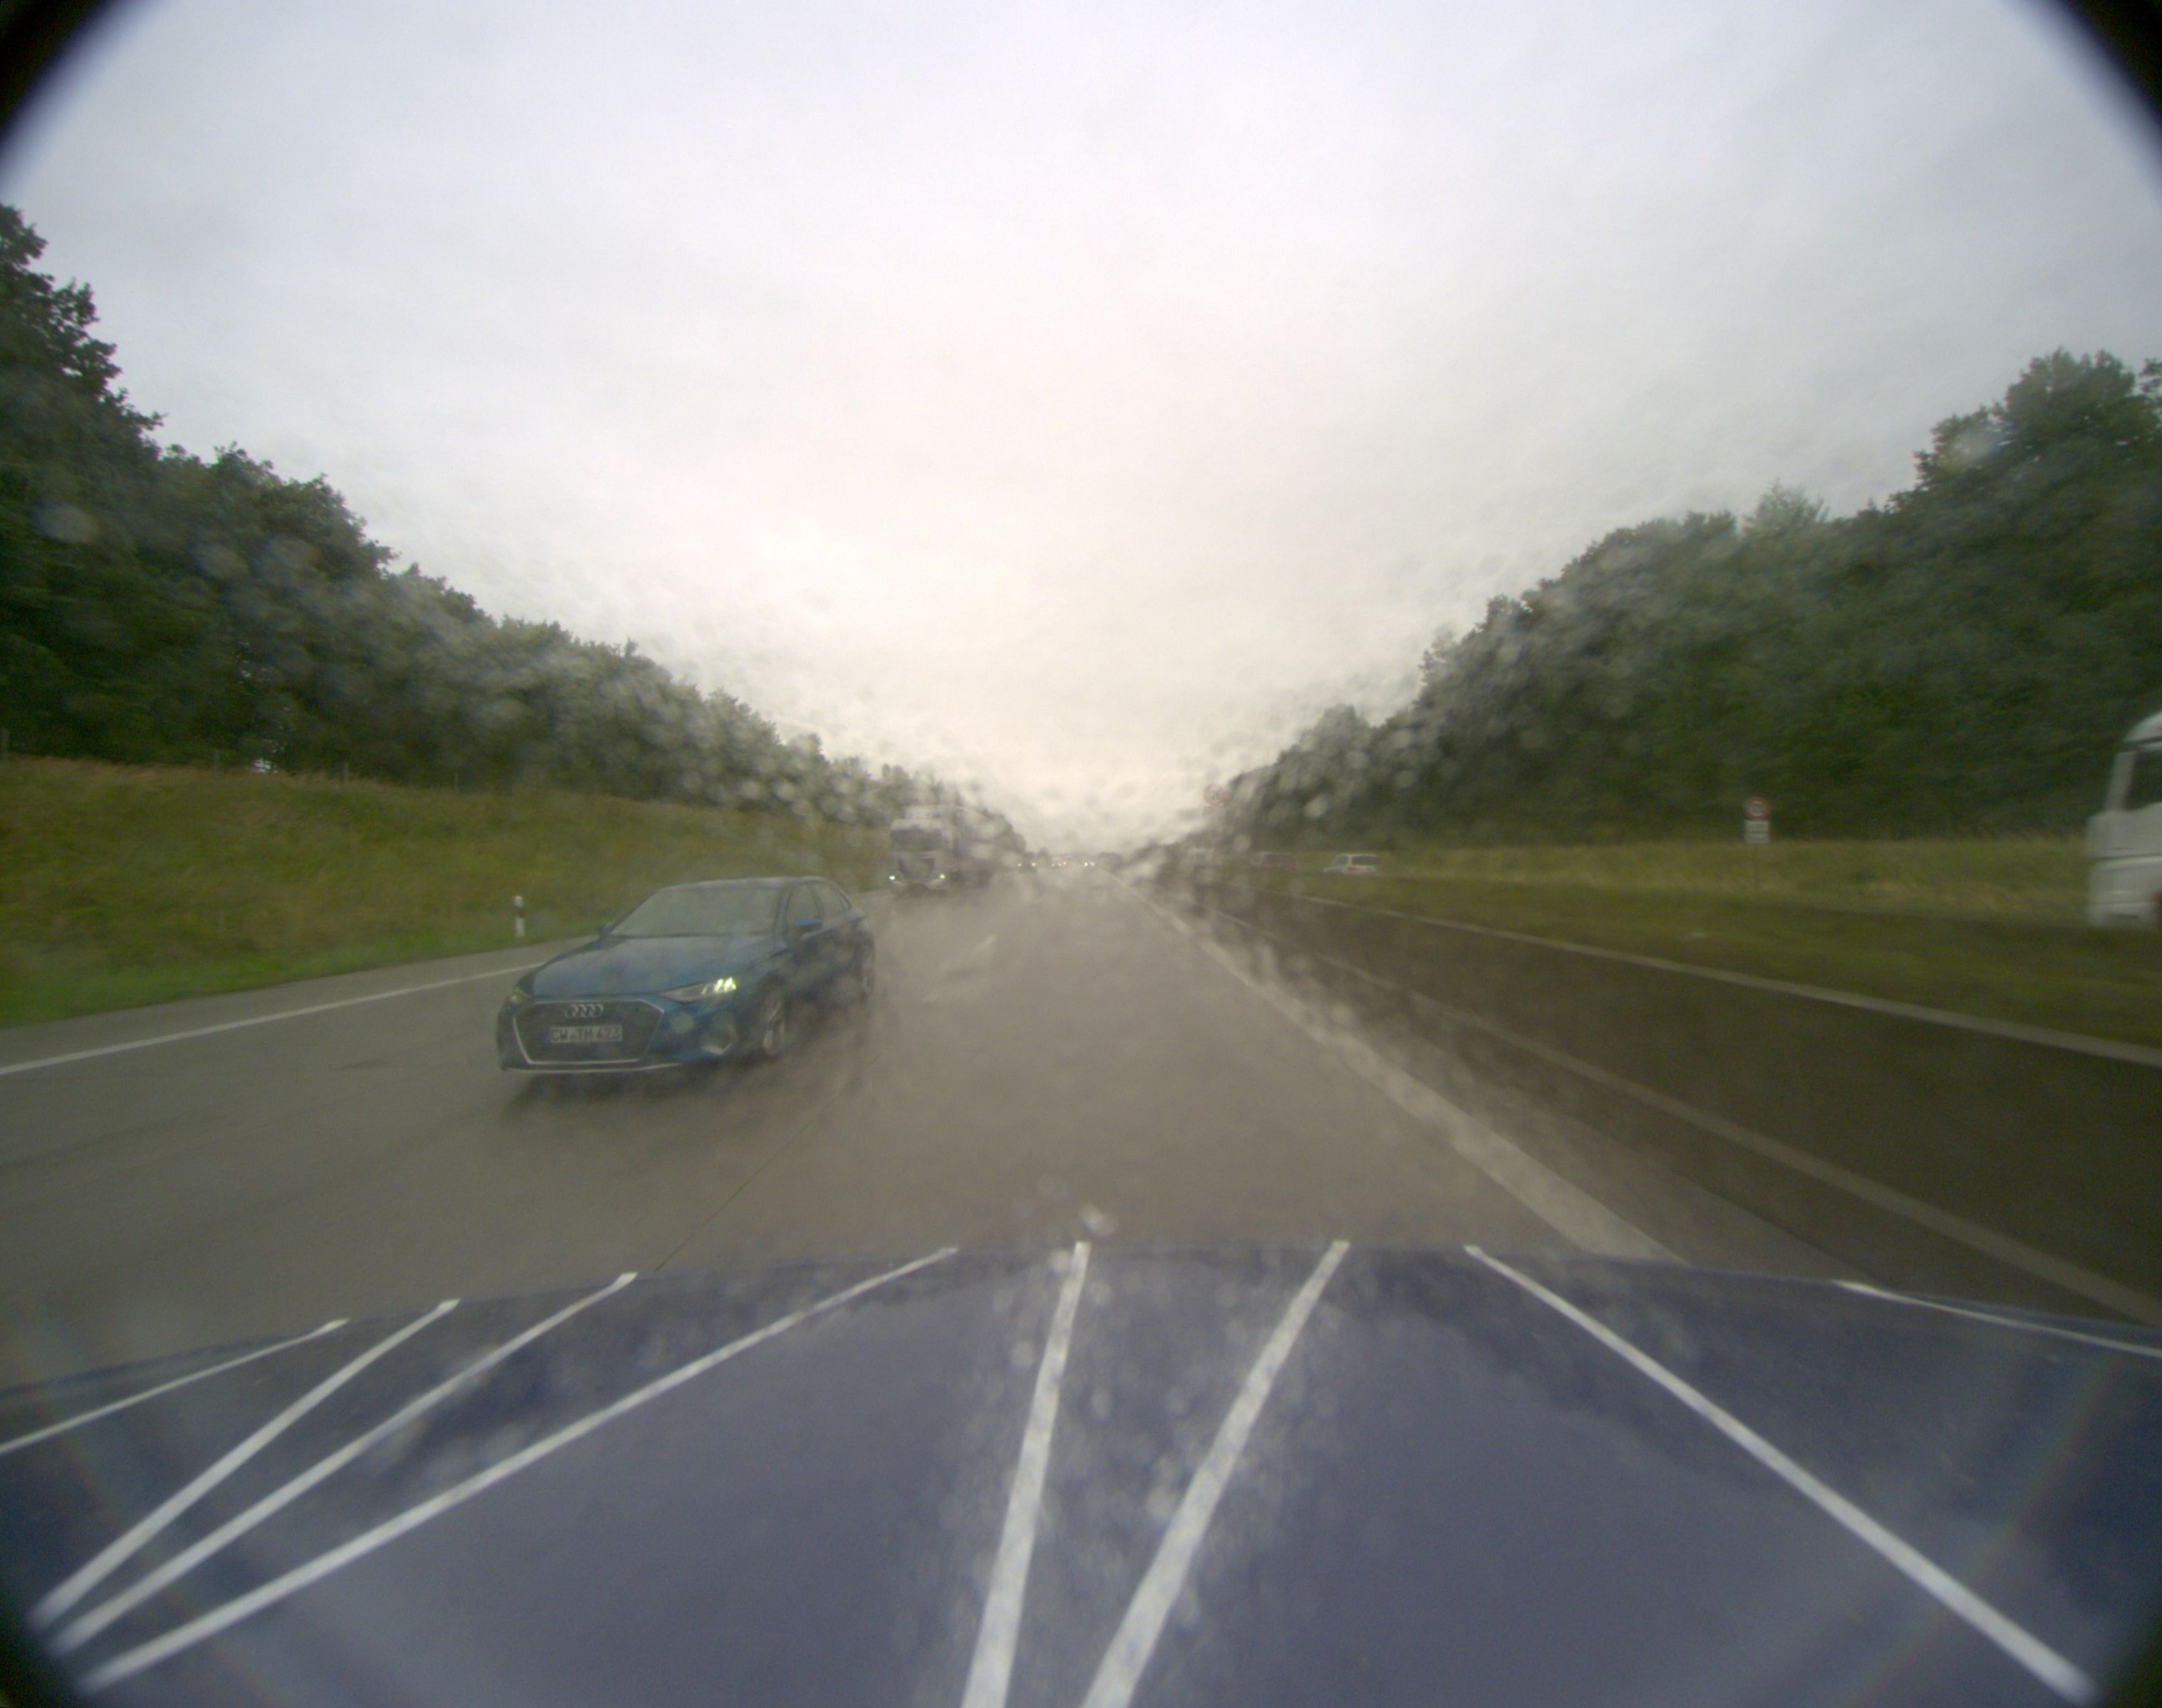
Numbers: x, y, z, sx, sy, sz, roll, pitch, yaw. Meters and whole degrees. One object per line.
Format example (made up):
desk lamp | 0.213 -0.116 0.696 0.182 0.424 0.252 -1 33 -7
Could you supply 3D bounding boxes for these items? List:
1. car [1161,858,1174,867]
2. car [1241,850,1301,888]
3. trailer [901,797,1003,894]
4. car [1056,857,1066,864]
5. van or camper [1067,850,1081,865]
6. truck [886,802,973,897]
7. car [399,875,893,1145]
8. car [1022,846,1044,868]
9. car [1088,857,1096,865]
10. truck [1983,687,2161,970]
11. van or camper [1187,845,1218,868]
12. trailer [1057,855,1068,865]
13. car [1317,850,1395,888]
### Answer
car | 17.911 1.716 157.177 2.065 1.791 4.852 -1 0 0
car | 9.075 0.693 36.648 1.788 1.677 4.560 -1 0 0
trailer | -6.722 -0.378 42.623 2.713 4.353 15.205 -3 0 1
car | -4.531 1.484 172.550 1.998 1.575 5.954 -3 -1 2
van or camper | -1.277 0.644 144.629 2.233 2.537 7.950 -2 0 2
truck | -6.821 -0.164 35.016 2.643 3.931 5.686 -2 0 0
car | -3.230 1.024 6.966 1.733 1.450 4.672 -1 1 1
car | -5.886 0.404 94.259 1.945 2.643 6.588 -3 -1 2
car | 2.349 1.490 160.766 1.733 1.450 4.672 -1 1 1
truck | 16.073 -0.351 9.201 2.671 3.853 6.435 -1 0 0
van or camper | 13.278 0.210 83.428 2.507 2.415 5.918 -1 0 0
trailer | -4.316 1.365 178.551 2.348 2.444 5.940 -1 0 2
car | 12.868 0.662 35.878 1.998 1.618 4.559 -1 1 0
